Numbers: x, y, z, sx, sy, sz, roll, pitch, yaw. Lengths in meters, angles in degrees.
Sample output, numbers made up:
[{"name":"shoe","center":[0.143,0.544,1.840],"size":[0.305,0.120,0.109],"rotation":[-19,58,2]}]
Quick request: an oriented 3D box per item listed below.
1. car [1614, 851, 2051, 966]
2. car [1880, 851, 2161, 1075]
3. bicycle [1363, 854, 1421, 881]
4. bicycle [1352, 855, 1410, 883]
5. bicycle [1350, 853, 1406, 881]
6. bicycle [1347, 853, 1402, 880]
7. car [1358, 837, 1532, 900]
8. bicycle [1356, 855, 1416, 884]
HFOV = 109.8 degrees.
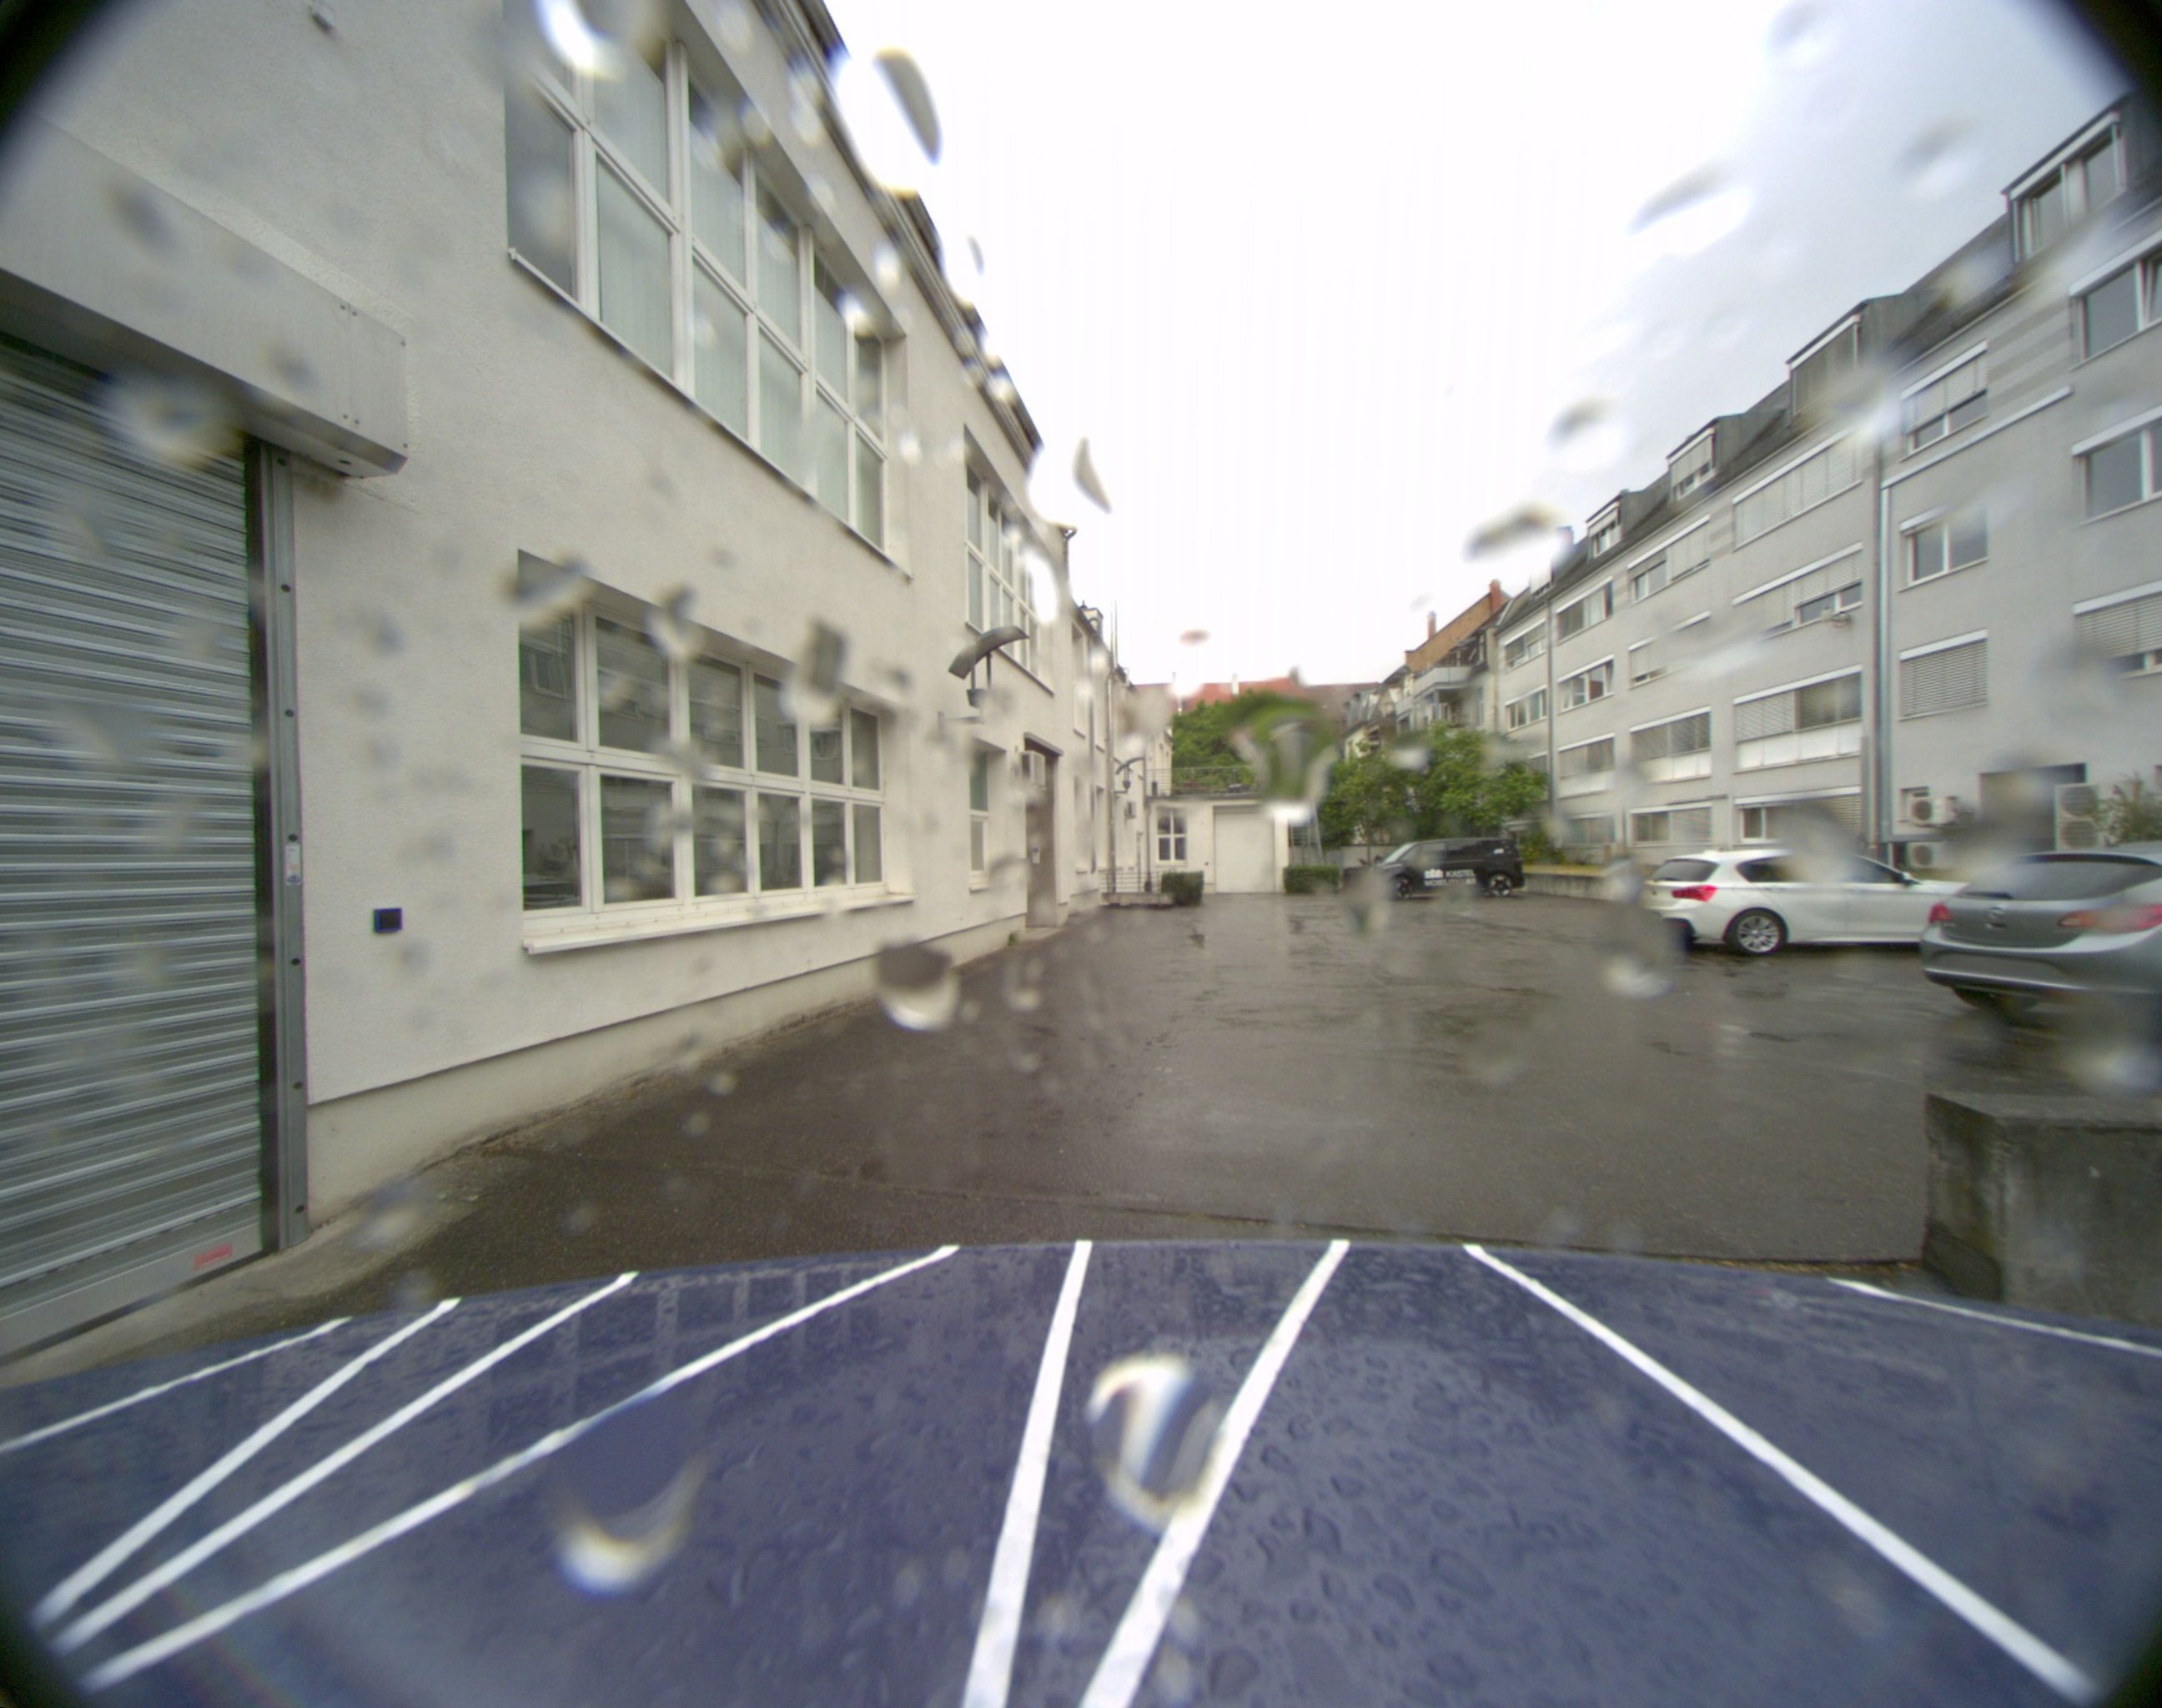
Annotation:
[{"name":"car","center":[10.257,0.722,10.706],"size":[4.147,1.425,1.754],"rotation":[-1,1,8]},{"name":"car","center":[9.202,0.707,5.706],"size":[4.173,1.475,1.823],"rotation":[-1,0,8]},{"name":"bicycle","center":[13.977,0.609,34.215],"size":[2.317,1.180,0.644],"rotation":[-1,3,13]},{"name":"bicycle","center":[13.293,0.651,33.689],"size":[2.317,1.180,0.644],"rotation":[-1,3,13]},{"name":"bicycle","center":[13.585,0.596,34.821],"size":[2.317,1.180,0.644],"rotation":[-1,3,13]},{"name":"bicycle","center":[13.676,0.568,35.448],"size":[2.317,1.180,0.644],"rotation":[-1,3,13]},{"name":"car","center":[11.584,0.475,24.456],"size":[4.626,1.825,1.989],"rotation":[-1,-1,5]},{"name":"bicycle","center":[13.196,0.686,32.893],"size":[2.317,1.180,0.644],"rotation":[-1,3,13]}]
